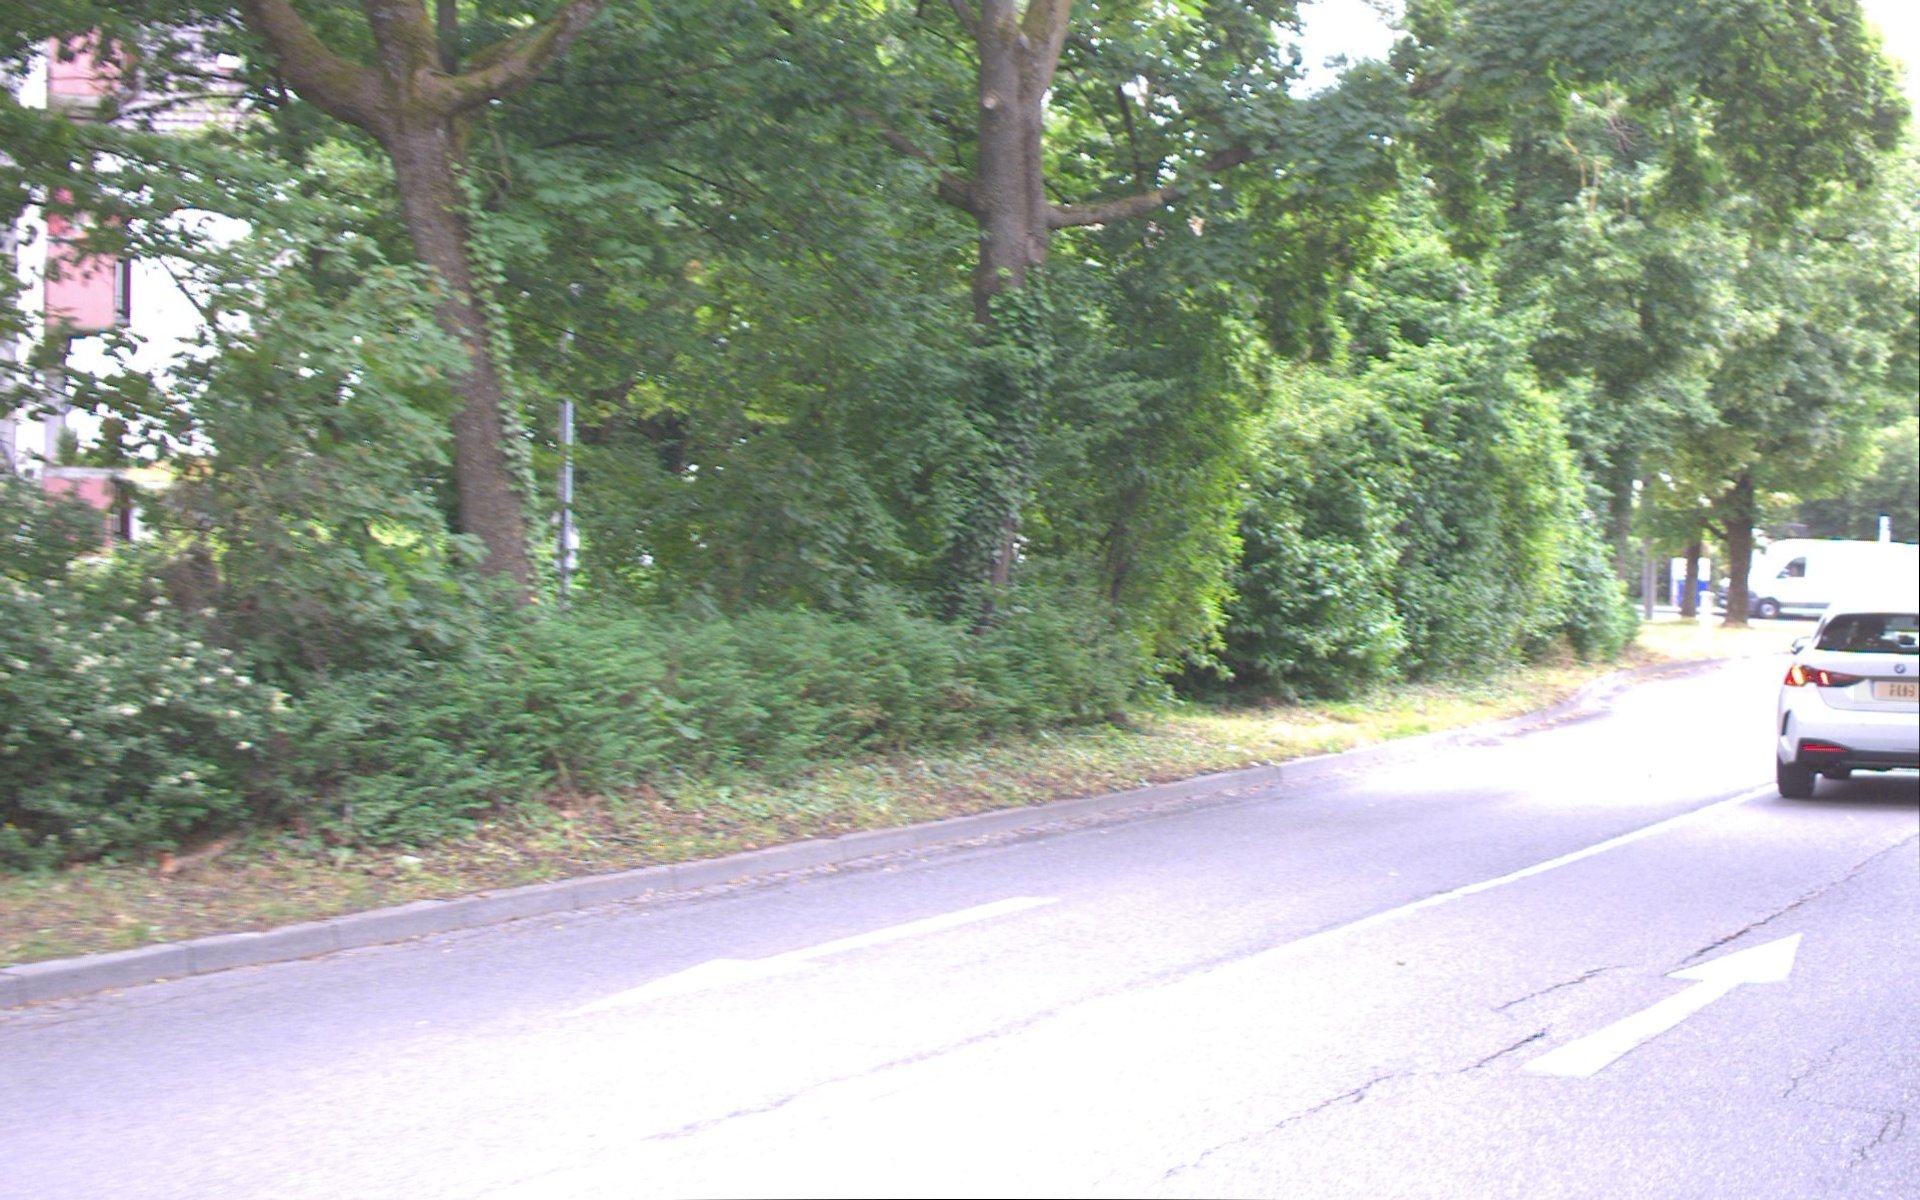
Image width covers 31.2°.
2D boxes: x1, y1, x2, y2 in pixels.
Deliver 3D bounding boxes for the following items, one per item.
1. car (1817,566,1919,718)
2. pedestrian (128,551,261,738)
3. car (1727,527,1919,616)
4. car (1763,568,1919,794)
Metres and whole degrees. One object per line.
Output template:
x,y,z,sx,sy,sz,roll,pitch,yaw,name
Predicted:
10.681,0.449,37.939,1.925,1.568,3.996,1,0,20,car
-6.376,0.359,28.660,0.609,1.495,0.871,4,2,23,pedestrian
27.858,-0.873,108.182,6.955,2.513,2.086,2,2,-14,car
7.149,0.588,25.457,1.797,1.512,4.202,2,0,20,car
